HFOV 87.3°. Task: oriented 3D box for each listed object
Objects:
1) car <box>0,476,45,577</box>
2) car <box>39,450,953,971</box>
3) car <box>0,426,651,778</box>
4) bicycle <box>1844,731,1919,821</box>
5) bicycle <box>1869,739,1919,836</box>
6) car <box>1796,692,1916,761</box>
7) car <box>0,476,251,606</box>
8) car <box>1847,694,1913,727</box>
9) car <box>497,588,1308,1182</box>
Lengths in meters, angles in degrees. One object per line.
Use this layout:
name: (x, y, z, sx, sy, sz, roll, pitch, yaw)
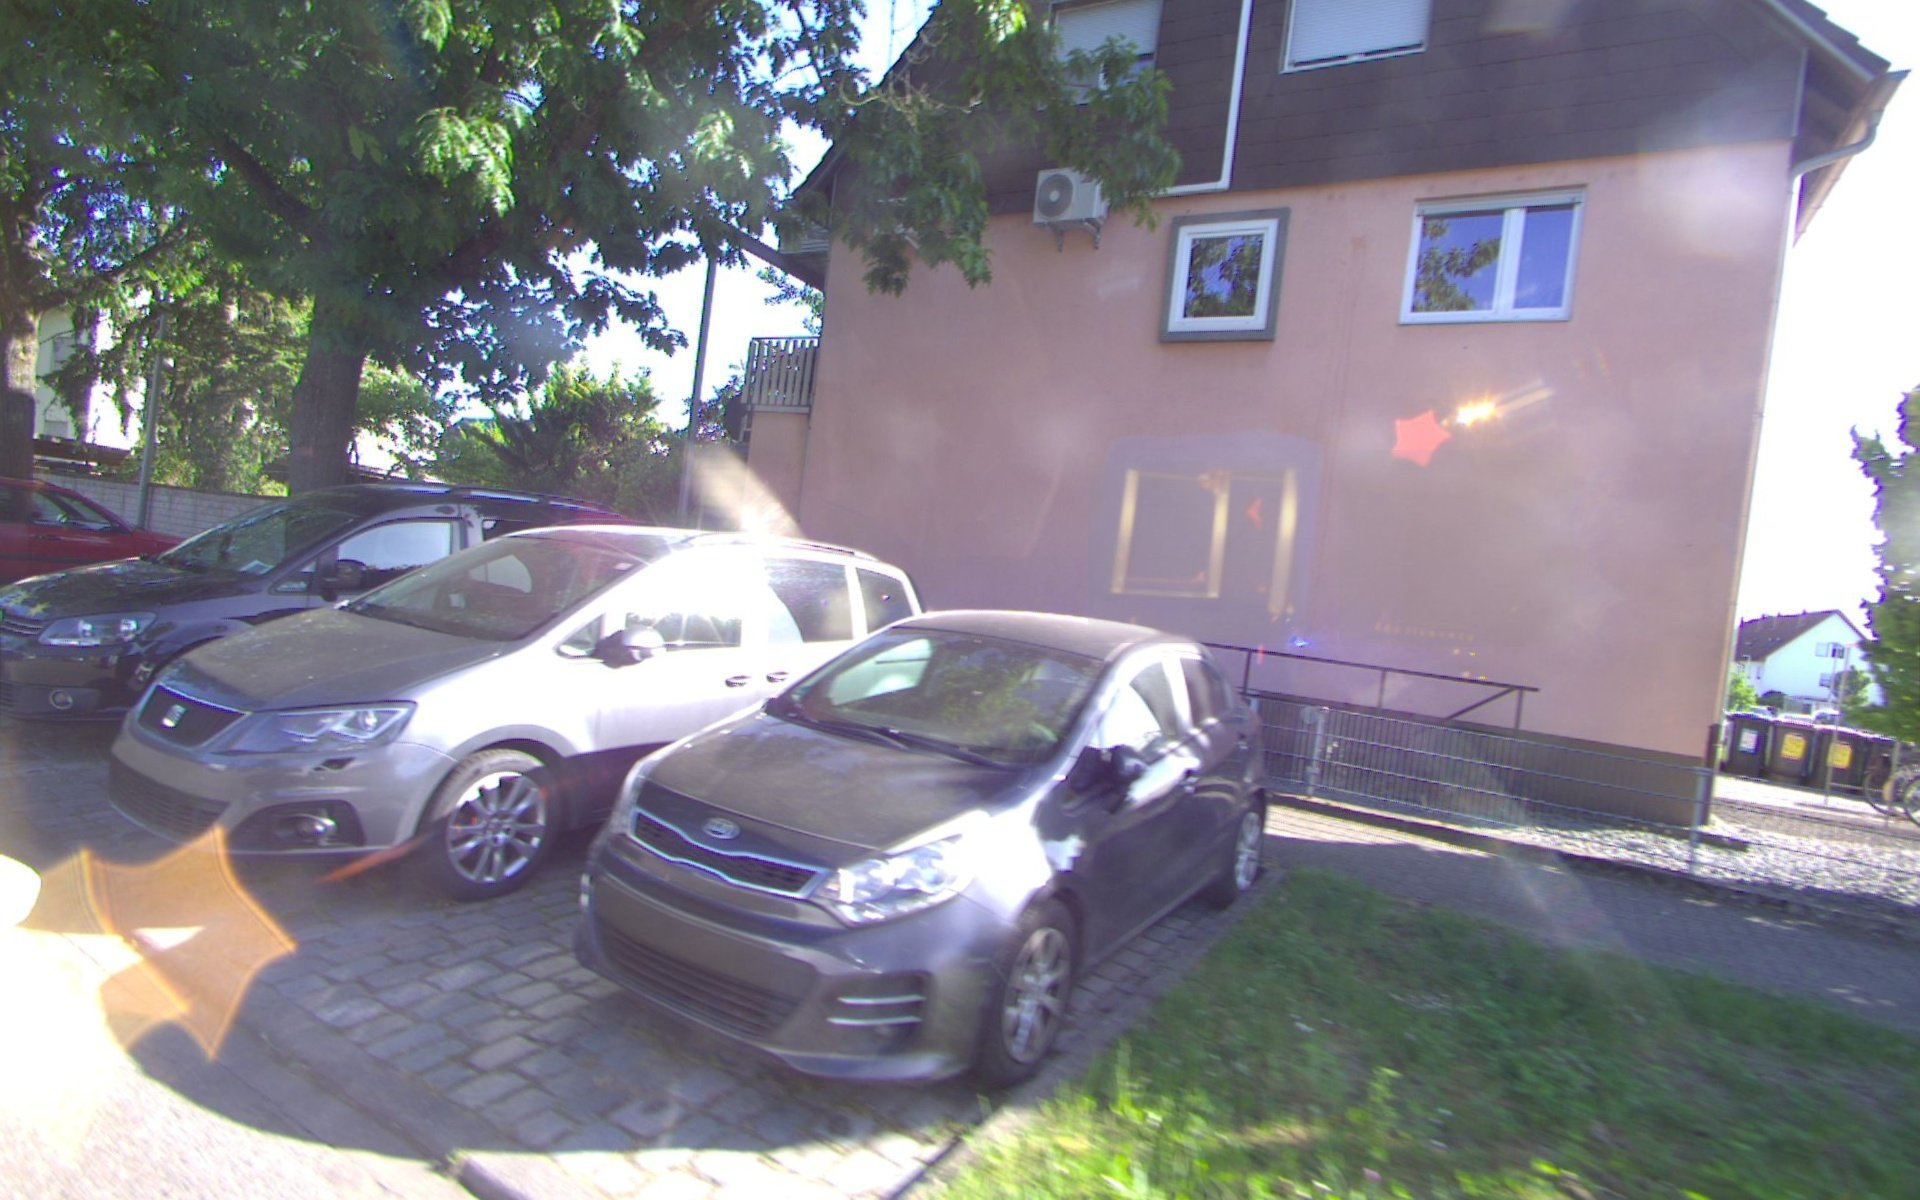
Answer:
car: (-16.036, -1.252, 14.559, 1.726, 1.503, 3.778, 6, 2, 31)
car: (-2.005, 0.361, 5.808, 1.847, 1.702, 4.506, 7, 2, 28)
car: (-4.554, -0.005, 7.423, 1.758, 1.805, 4.215, 6, 2, 28)
bicycle: (13.375, 2.475, 13.184, 2.503, 1.045, 0.647, 8, 2, 32)
bicycle: (12.243, 2.362, 11.550, 2.503, 1.045, 0.647, 8, 2, 32)
car: (27.709, 3.860, 31.254, 1.880, 1.623, 3.718, 8, 1, 30)
car: (-11.788, -0.790, 12.478, 1.807, 1.465, 4.503, 7, 2, 31)
car: (71.833, 8.619, 78.600, 3.283, 1.917, 1.748, 8, 2, 32)
car: (0.207, 0.791, 4.663, 1.656, 1.379, 3.945, 7, 2, 33)
